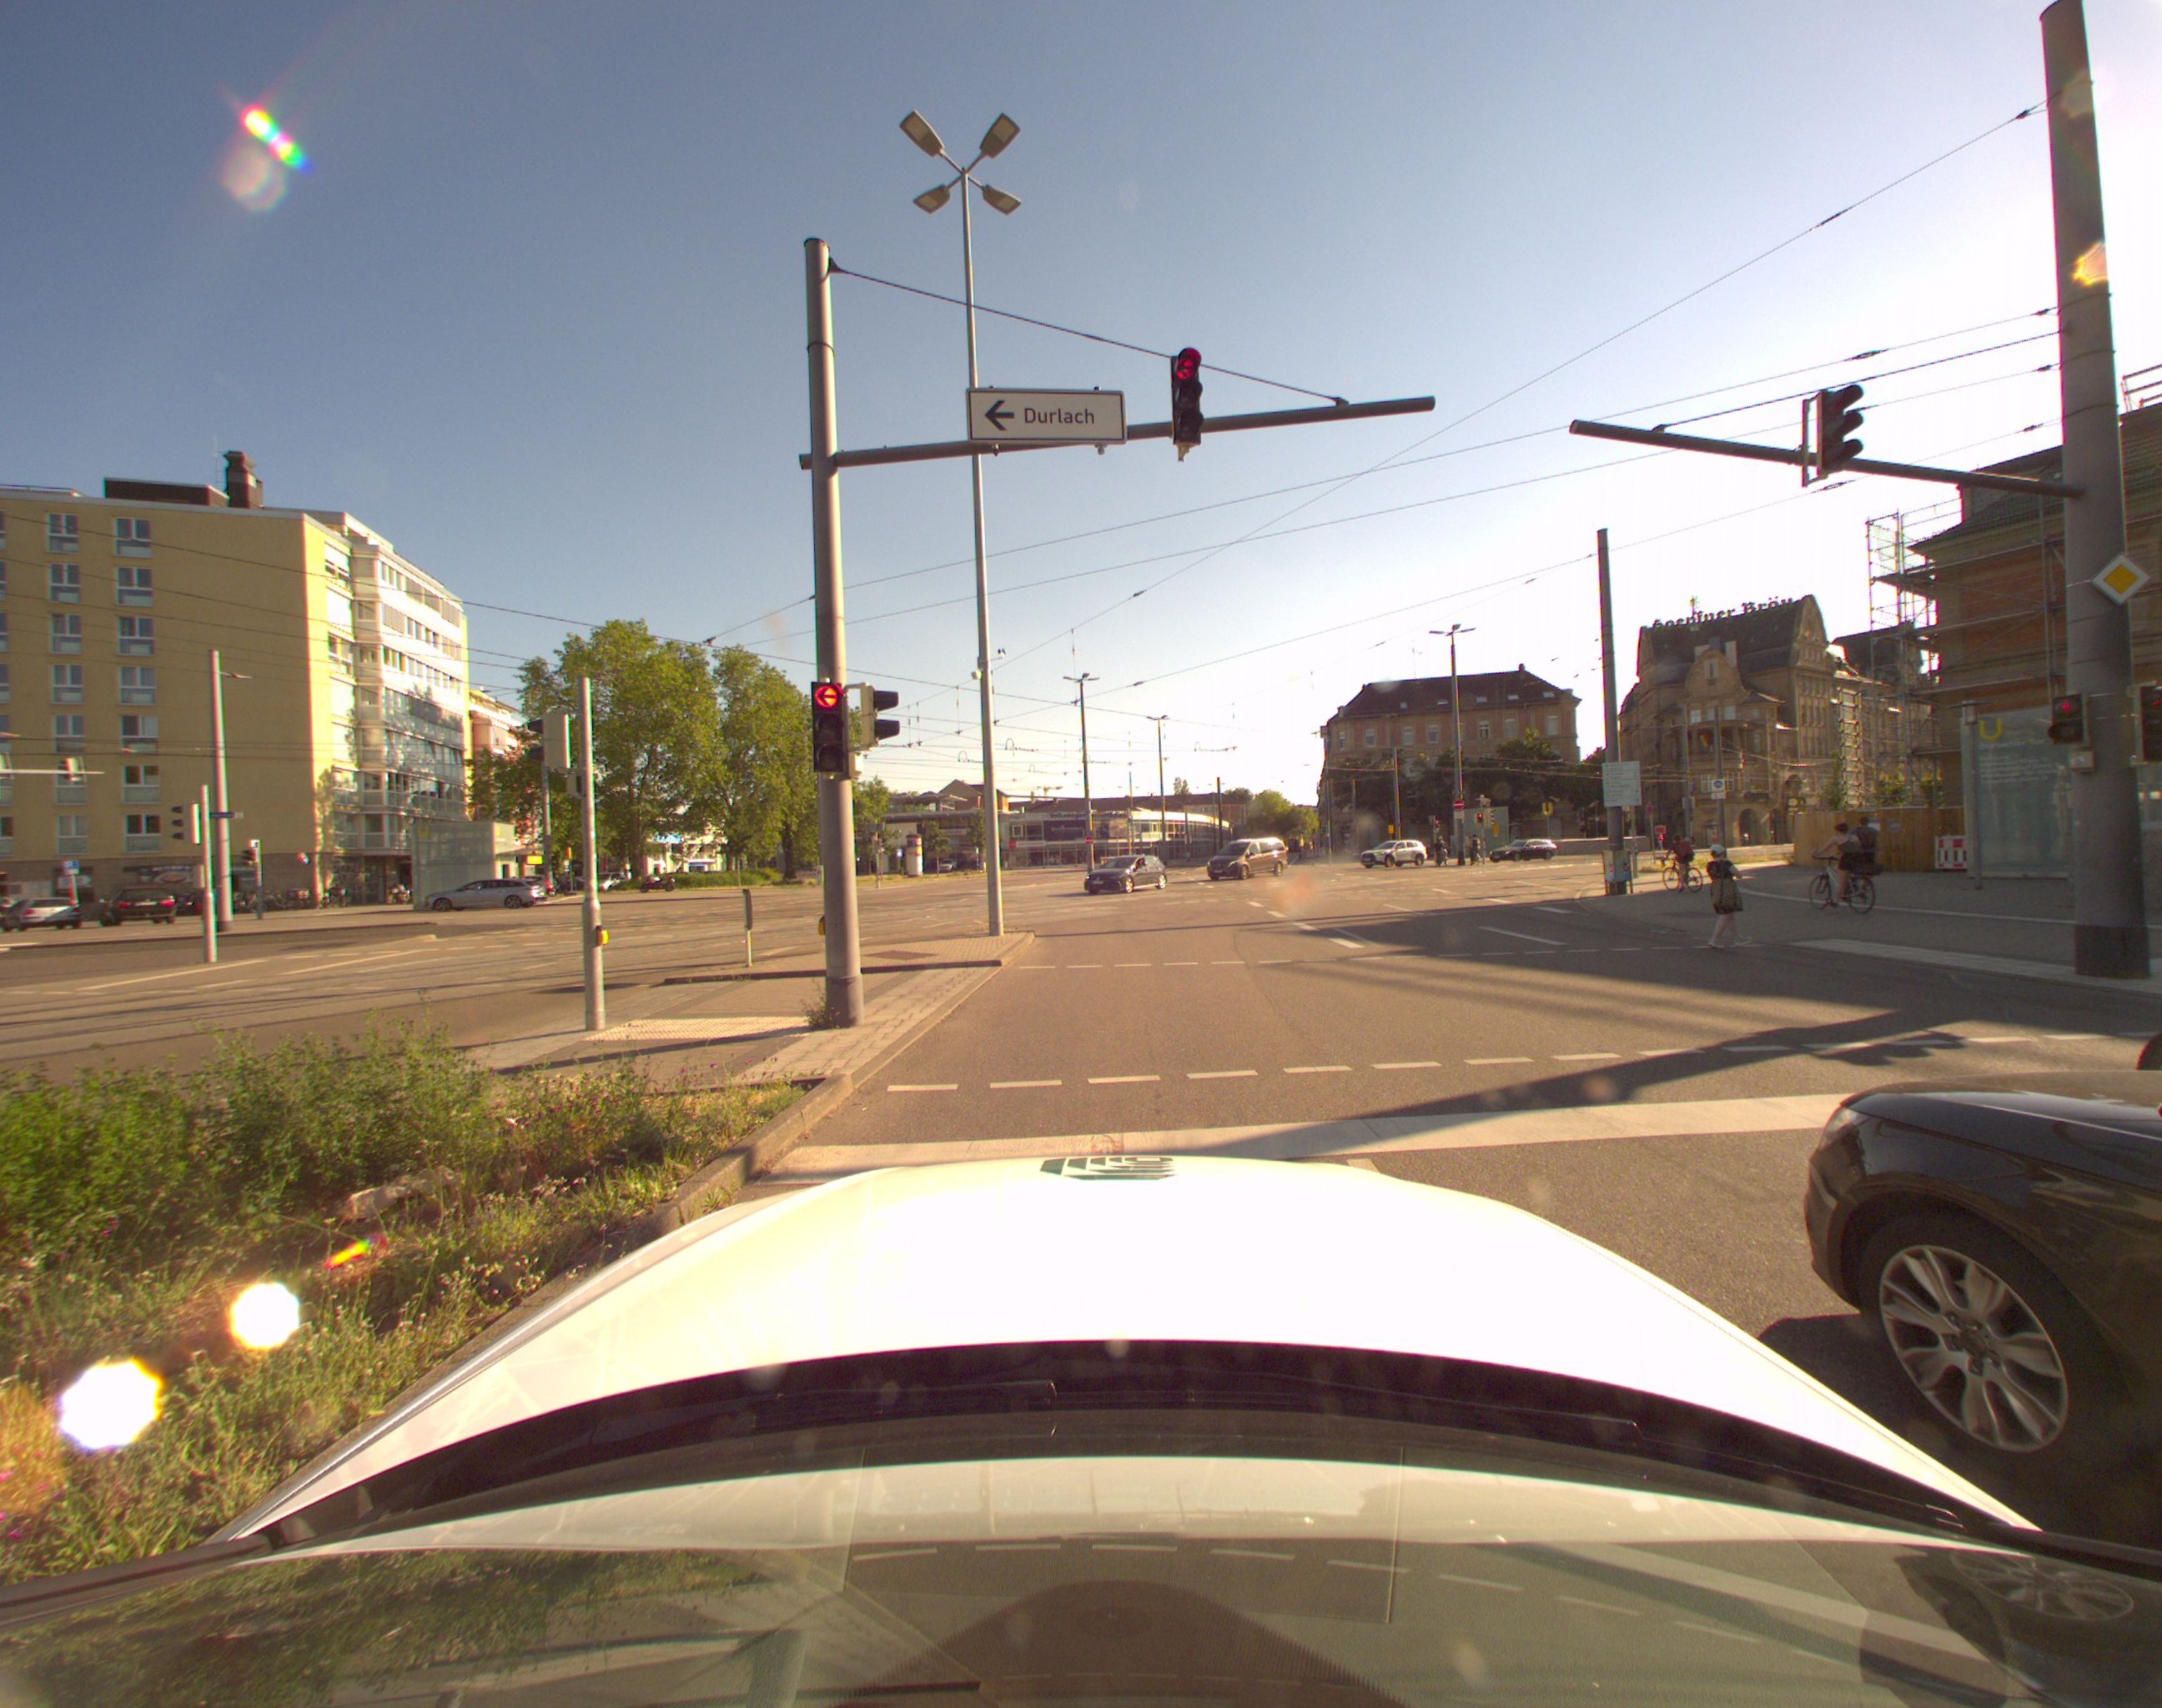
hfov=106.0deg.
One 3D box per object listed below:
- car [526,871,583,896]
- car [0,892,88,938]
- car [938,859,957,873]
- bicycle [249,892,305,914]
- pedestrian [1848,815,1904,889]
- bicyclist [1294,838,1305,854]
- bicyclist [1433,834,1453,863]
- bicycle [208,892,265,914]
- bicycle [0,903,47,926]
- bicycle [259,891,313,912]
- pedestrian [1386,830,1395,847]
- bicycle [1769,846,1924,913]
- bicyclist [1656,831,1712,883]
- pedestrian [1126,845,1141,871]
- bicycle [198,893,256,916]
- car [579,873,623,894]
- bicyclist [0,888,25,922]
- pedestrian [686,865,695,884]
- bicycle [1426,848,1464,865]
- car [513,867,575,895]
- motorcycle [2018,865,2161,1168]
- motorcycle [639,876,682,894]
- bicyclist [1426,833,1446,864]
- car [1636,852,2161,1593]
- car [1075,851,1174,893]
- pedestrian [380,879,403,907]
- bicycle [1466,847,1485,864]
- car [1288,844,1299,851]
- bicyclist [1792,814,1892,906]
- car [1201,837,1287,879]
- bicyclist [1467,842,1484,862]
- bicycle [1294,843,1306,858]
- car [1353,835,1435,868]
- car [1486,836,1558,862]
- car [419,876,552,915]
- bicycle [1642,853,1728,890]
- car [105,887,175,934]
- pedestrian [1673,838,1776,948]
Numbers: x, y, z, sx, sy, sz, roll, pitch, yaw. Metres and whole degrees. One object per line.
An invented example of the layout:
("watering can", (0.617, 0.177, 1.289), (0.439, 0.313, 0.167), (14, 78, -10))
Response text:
("car", (-45.037, 2.531, 69.692), (4.016, 1.857, 1.834), (-2, 2, -33))
("car", (-46.544, 2.670, 36.531), (3.949, 1.748, 1.851), (0, 2, 30))
("car", (-16.583, 1.483, 101.338), (1.990, 1.534, 3.995), (-1, 2, -4))
("bicycle", (-44.997, 2.712, 45.614), (2.047, 1.090, 0.772), (-2, 0, -18))
("pedestrian", (18.704, -0.040, 19.174), (0.690, 1.671, 0.834), (-4, -1, 31))
("bicyclist", (27.034, -1.035, 100.735), (1.110, 1.900, 1.079), (-1, 1, 19))
("bicyclist", (21.430, -0.352, 48.175), (0.653, 1.690, 0.852), (-2, 1, -29))
("bicycle", (-47.411, 2.762, 45.731), (2.047, 1.090, 0.772), (-2, 0, -18))
("bicycle", (-52.209, 2.972, 39.494), (2.441, 1.003, 0.958), (-2, 0, -14))
("bicycle", (-45.292, 2.696, 46.405), (2.047, 1.090, 0.772), (-2, 0, -18))
("pedestrian", (24.192, -1.190, 63.620), (0.421, 1.339, 0.601), (-2, 0, 2))
("bicycle", (14.786, 0.464, 15.849), (0.775, 1.156, 2.291), (-5, 0, 0))
("bicyclist", (16.538, 0.098, 22.375), (0.717, 1.384, 1.076), (-1, -2, 2))
("pedestrian", (3.762, 0.278, 58.601), (0.986, 1.816, 0.920), (-1, 1, 0))
("bicycle", (-47.075, 2.777, 44.928), (2.047, 1.090, 0.772), (-2, 0, -18))
("car", (-37.477, 2.278, 63.626), (1.850, 1.452, 3.980), (-2, 0, -14))
("bicyclist", (-52.295, 2.483, 39.475), (0.925, 1.559, 0.958), (-2, 0, -14))
("pedestrian", (-41.167, 2.138, 85.865), (0.586, 2.013, 0.711), (-2, 0, 1))
("bicycle", (21.586, 0.126, 48.253), (2.310, 0.905, 0.852), (-2, 2, -30))
("car", (-42.766, 2.166, 64.970), (4.015, 2.013, 1.979), (-2, 0, -33))
("motorcycle", (5.462, 0.740, 2.968), (1.091, 1.377, 2.655), (-1, -1, 3))
("motorcycle", (-26.475, 1.938, 51.300), (2.286, 1.054, 0.685), (-2, 1, -12))
("bicyclist", (20.875, -0.298, 47.850), (0.586, 1.778, 0.859), (-2, -1, -29))
("car", (3.030, 0.723, 1.108), (1.796, 1.444, 3.976), (-1, 0, -1))
("car", (1.796, 0.678, 32.558), (1.928, 1.486, 4.129), (-2, 0, 37))
("pedestrian", (-42.261, 2.390, 49.921), (0.777, 1.676, 0.778), (-2, 0, -15))
("bicycle", (23.259, 0.077, 48.019), (0.850, 0.905, 2.316), (-1, 2, 21))
("car", (53.774, -1.554, 206.050), (1.795, 1.655, 3.919), (-1, 2, 1))
("bicyclist", (14.756, 0.116, 15.824), (0.775, 1.677, 1.093), (-5, 0, 0))
("car", (8.283, 0.180, 41.021), (1.929, 1.893, 4.880), (-3, 0, 43))
("bicyclist", (23.286, -0.126, 48.101), (0.850, 1.176, 0.718), (-1, 1, 21))
("bicycle", (27.032, -0.460, 100.492), (1.126, 1.690, 4.020), (-1, 2, 18))
("car", (19.055, -0.164, 49.498), (4.863, 1.799, 1.935), (-2, 0, -29))
("car", (29.571, -0.368, 54.629), (4.361, 1.563, 1.937), (-2, 2, -23))
("car", (-27.492, 1.899, 37.773), (4.559, 1.517, 1.940), (-2, 0, -20))
("bicycle", (16.548, 0.488, 22.394), (0.717, 0.952, 2.250), (-1, -2, 2))
("car", (-43.644, 2.563, 37.761), (3.948, 1.857, 1.865), (0, 2, 38))
("pedestrian", (9.910, 0.575, 12.566), (1.092, 1.606, 0.697), (-1, 1, -9))
